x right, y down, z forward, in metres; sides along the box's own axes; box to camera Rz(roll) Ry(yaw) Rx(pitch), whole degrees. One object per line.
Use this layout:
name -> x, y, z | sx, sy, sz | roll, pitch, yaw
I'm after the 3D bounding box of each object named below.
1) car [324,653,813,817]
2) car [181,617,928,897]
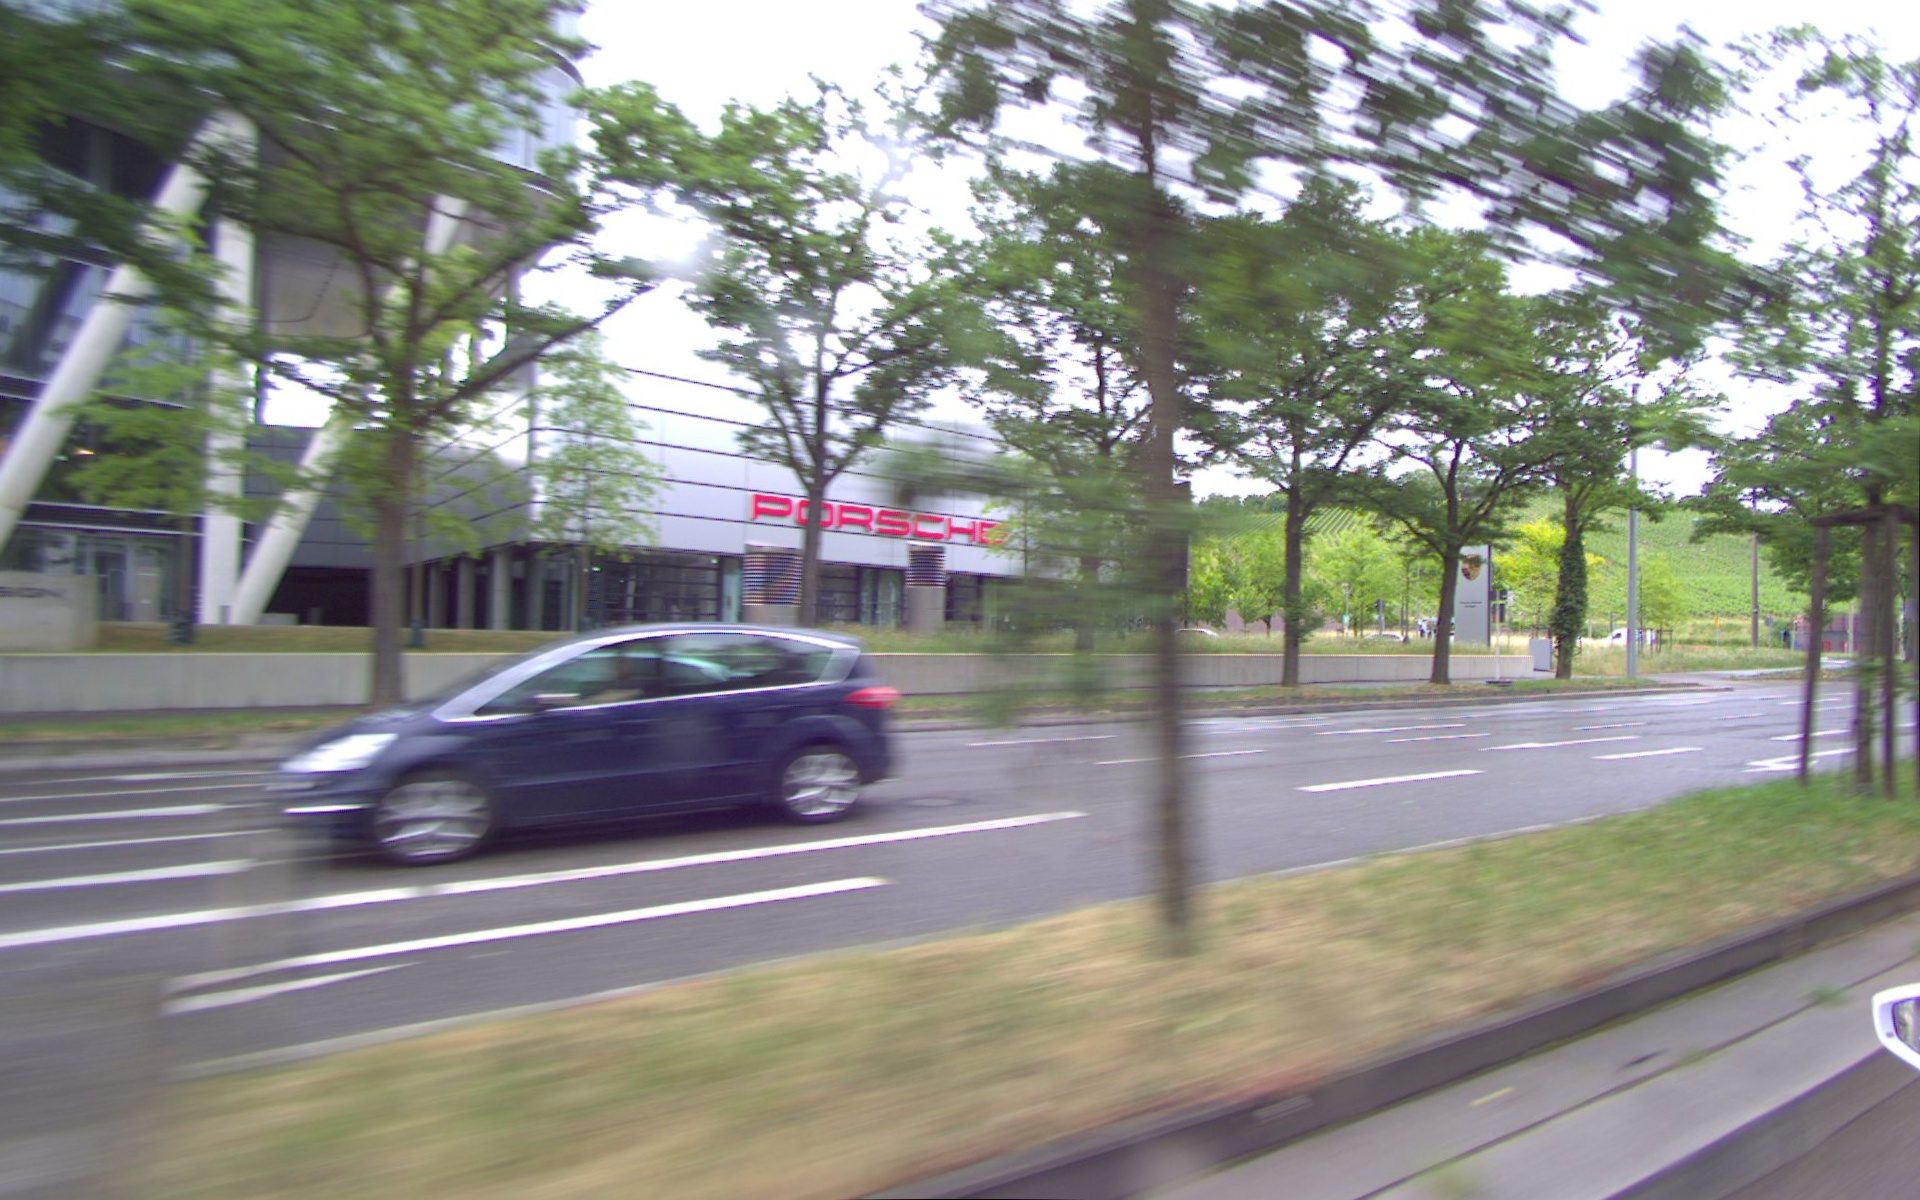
car -> -4.069, 1.302, 10.823 | 4.602, 1.429, 1.806 | 2, -4, -31
car -> -2.930, 1.027, 8.103 | 5.064, 1.637, 1.983 | 1, -4, -32
